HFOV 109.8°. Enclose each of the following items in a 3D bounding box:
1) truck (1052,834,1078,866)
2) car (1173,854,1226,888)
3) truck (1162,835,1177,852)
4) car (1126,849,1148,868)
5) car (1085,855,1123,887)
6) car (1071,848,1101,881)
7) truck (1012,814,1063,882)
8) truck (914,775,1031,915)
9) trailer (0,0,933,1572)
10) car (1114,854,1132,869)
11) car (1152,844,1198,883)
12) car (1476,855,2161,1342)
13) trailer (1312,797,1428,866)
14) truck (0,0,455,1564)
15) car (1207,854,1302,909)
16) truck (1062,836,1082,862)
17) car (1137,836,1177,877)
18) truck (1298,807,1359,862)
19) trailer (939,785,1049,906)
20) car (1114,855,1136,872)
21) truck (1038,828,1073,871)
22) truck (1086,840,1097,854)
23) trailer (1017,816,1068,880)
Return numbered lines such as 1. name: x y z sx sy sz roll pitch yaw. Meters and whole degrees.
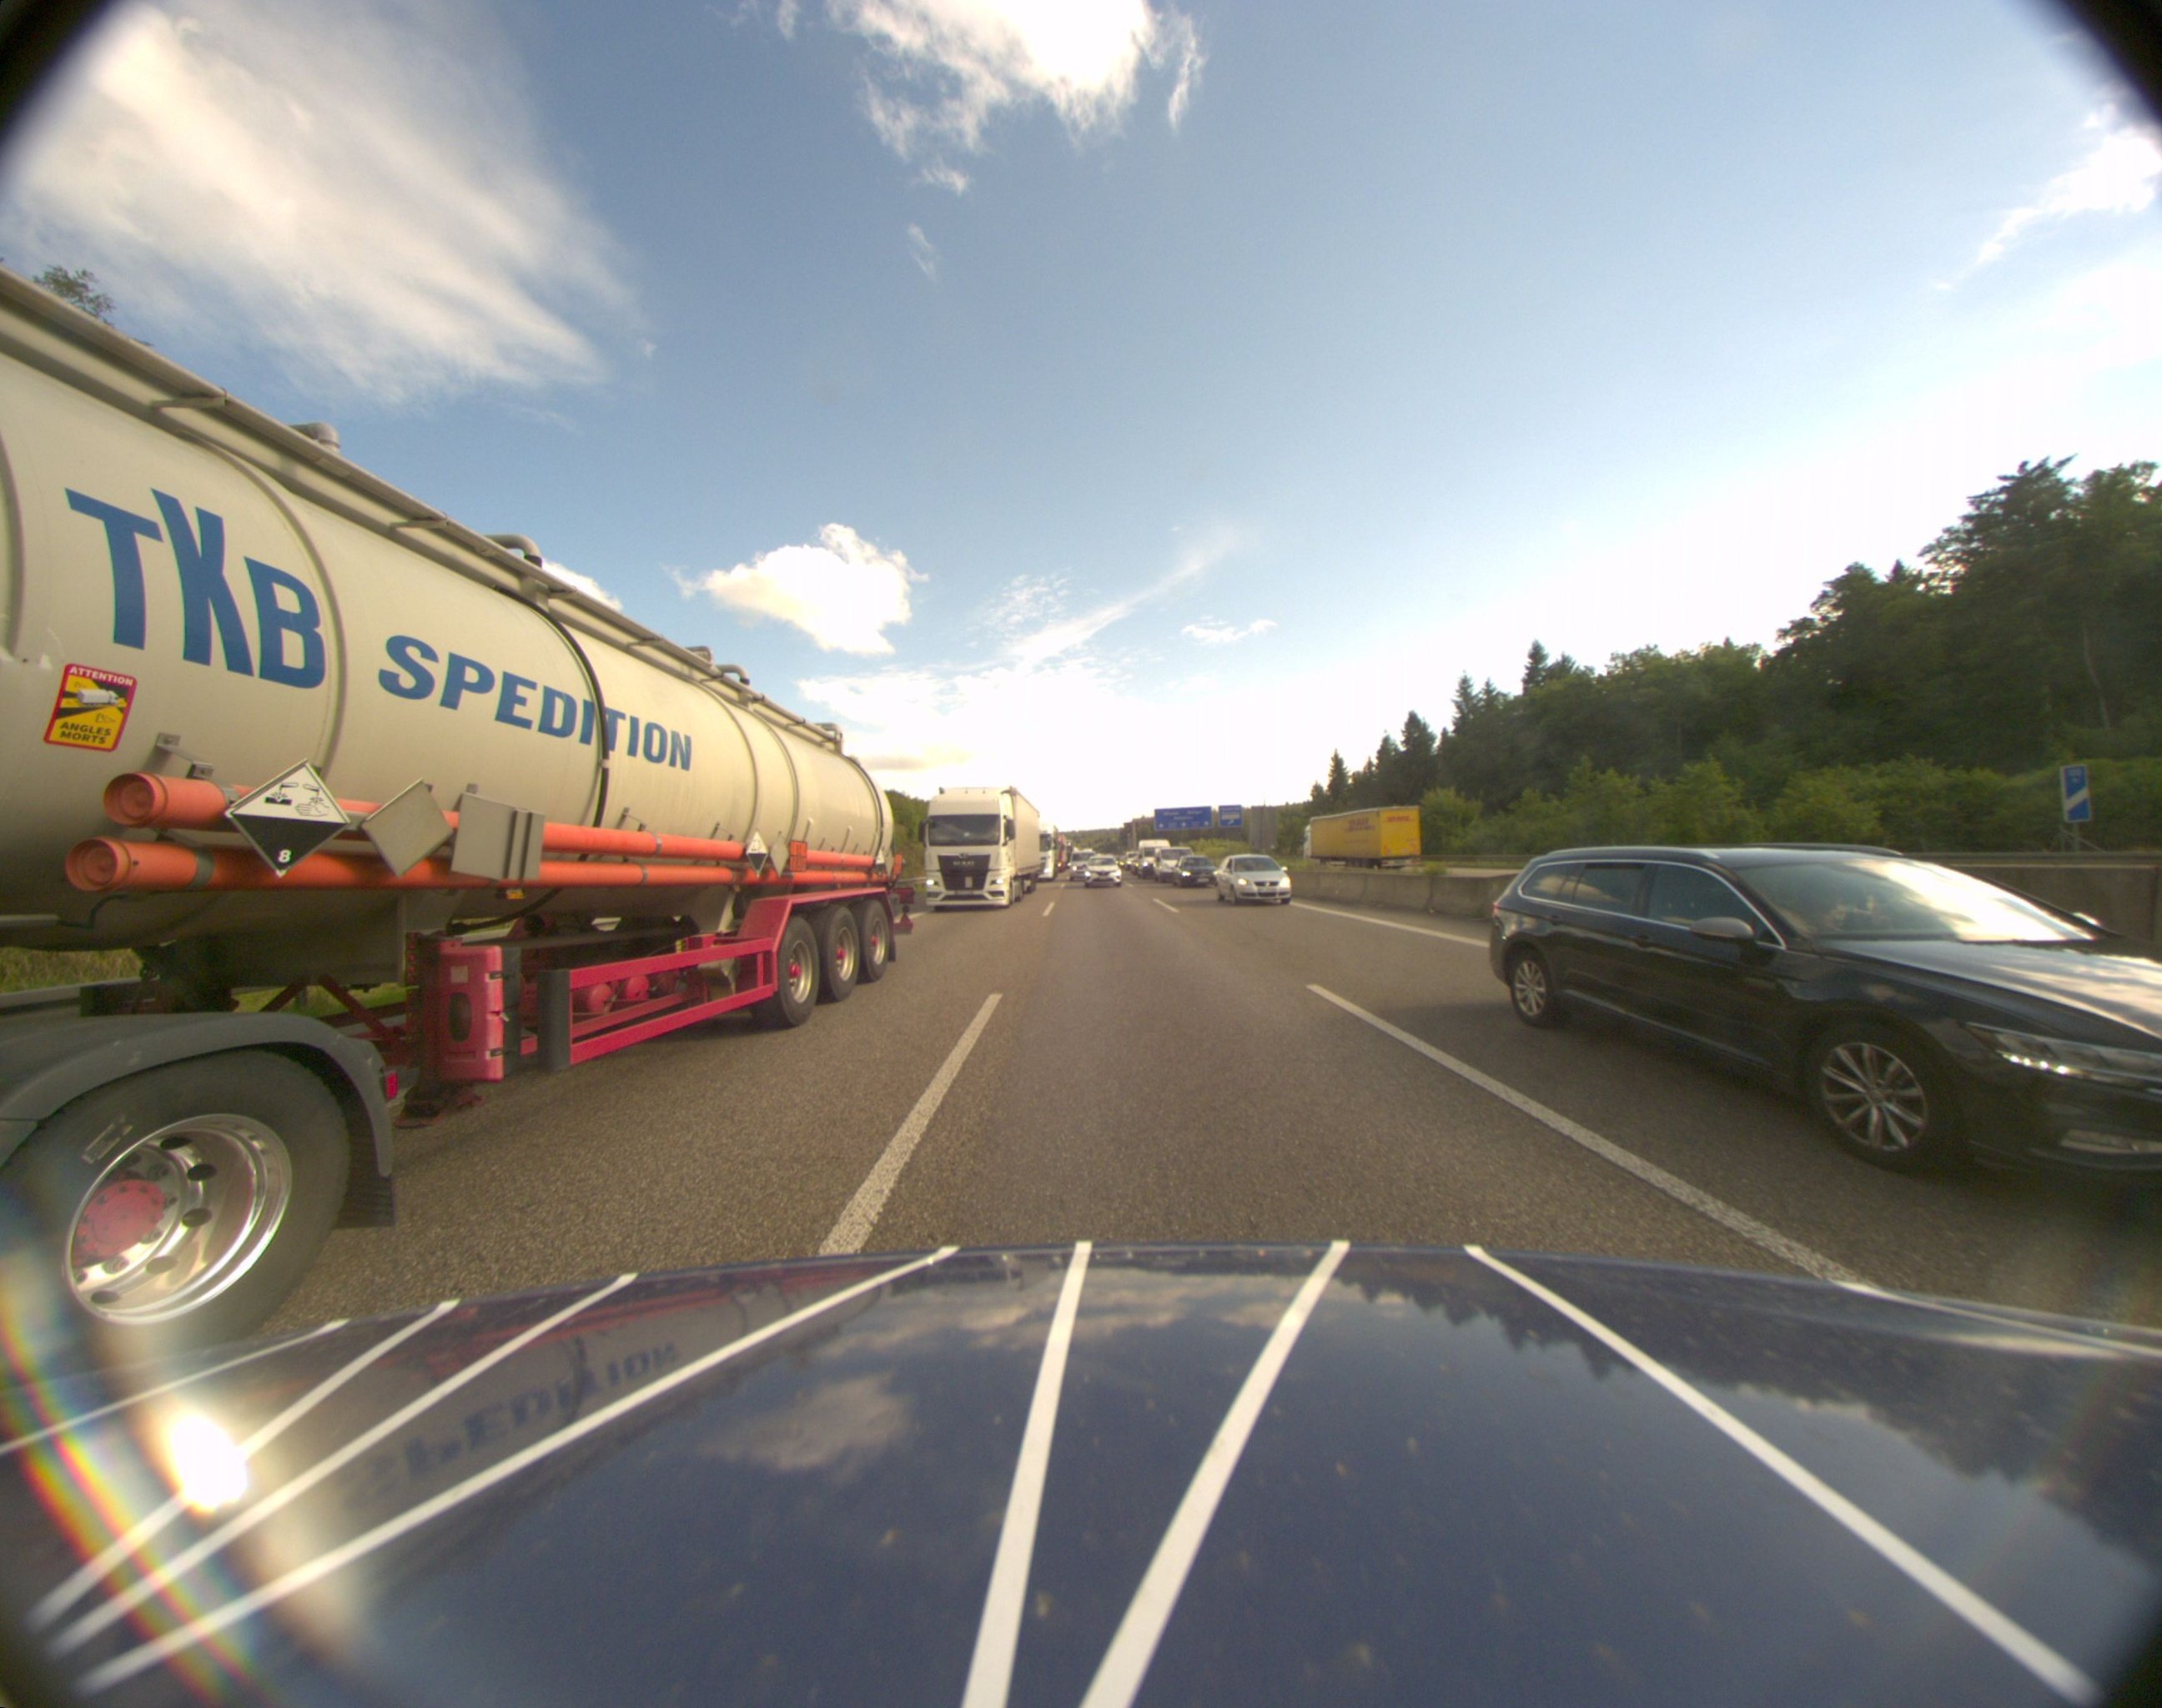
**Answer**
1. truck: -2.165 -0.586 107.325 2.841 4.178 12.045 -2 1 2
2. car: 5.427 0.729 35.234 1.809 1.423 3.993 -2 0 0
3. truck: 22.890 -2.651 197.226 2.841 4.178 12.045 -2 1 2
4. car: 5.785 0.455 78.349 1.920 1.785 3.811 -2 0 0
5. car: 1.124 0.832 38.960 1.809 1.487 4.666 -2 0 0
6. car: 0.313 0.647 50.445 1.809 2.052 4.769 -2 0 0
7. truck: -2.786 -0.404 50.825 2.841 4.177 5.707 -2 0 1
8. truck: -3.388 -0.285 25.321 2.841 4.048 5.707 -2 0 1
9. trailer: -3.967 -0.259 6.744 2.805 4.003 11.182 -2 0 1
10. car: 4.815 0.853 87.447 1.920 1.535 3.811 -2 0 0
11. car: 5.206 0.493 42.679 1.947 1.953 4.847 -2 0 0
12. car: 4.460 0.781 4.568 1.915 1.469 4.569 -2 0 2
13. trailer: 19.964 -1.479 53.819 2.841 4.178 13.560 -2 1 0
14. truck: -4.095 -0.250 0.157 2.810 4.020 5.903 -2 0 1
15. car: 5.175 0.768 23.251 1.809 1.423 4.666 -2 0 0
16. truck: -1.576 -0.930 135.098 2.841 4.178 12.045 -2 1 2
17. car: 4.967 0.166 50.465 2.054 2.557 5.861 -1 0 0
18. truck: 19.946 -1.545 61.600 2.841 4.178 6.078 -2 1 0
19. trailer: -3.238 -0.317 32.638 2.833 4.047 13.371 -2 0 1
20. car: 4.047 0.863 70.100 1.809 1.423 3.660 -2 0 0
21. truck: -2.617 -0.544 82.450 2.841 4.178 12.045 -2 1 2
22. truck: 3.206 -2.263 233.677 2.841 4.178 12.045 -2 1 2
23. trailer: -2.704 -0.435 57.946 2.841 4.177 13.612 -2 0 1
